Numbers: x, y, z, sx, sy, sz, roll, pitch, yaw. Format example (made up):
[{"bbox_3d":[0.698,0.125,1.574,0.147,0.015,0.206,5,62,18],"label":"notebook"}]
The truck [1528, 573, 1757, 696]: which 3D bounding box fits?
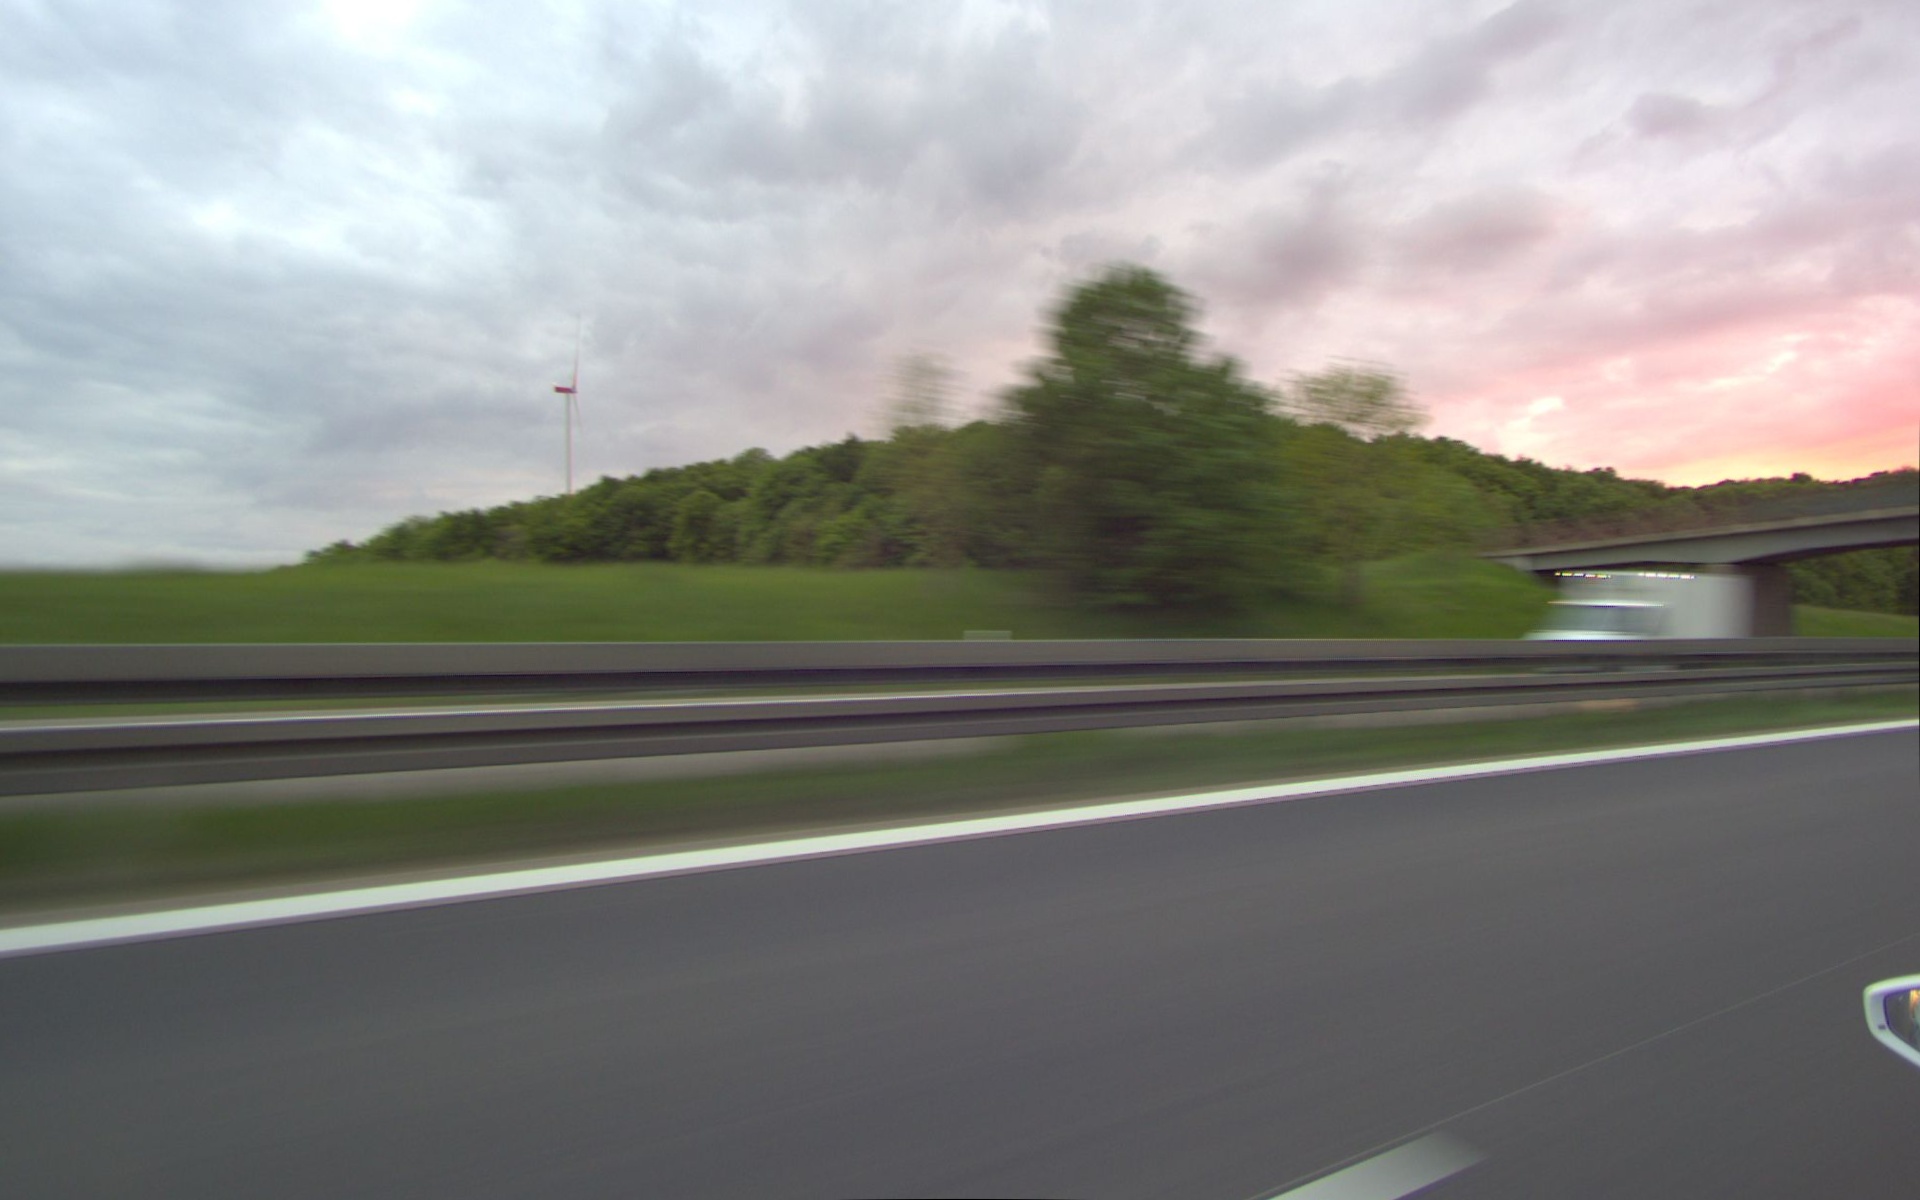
[{"bbox_3d":[19.411,0.952,28.495,6.585,3.151,2.601,1,0,-28],"label":"truck"}]
